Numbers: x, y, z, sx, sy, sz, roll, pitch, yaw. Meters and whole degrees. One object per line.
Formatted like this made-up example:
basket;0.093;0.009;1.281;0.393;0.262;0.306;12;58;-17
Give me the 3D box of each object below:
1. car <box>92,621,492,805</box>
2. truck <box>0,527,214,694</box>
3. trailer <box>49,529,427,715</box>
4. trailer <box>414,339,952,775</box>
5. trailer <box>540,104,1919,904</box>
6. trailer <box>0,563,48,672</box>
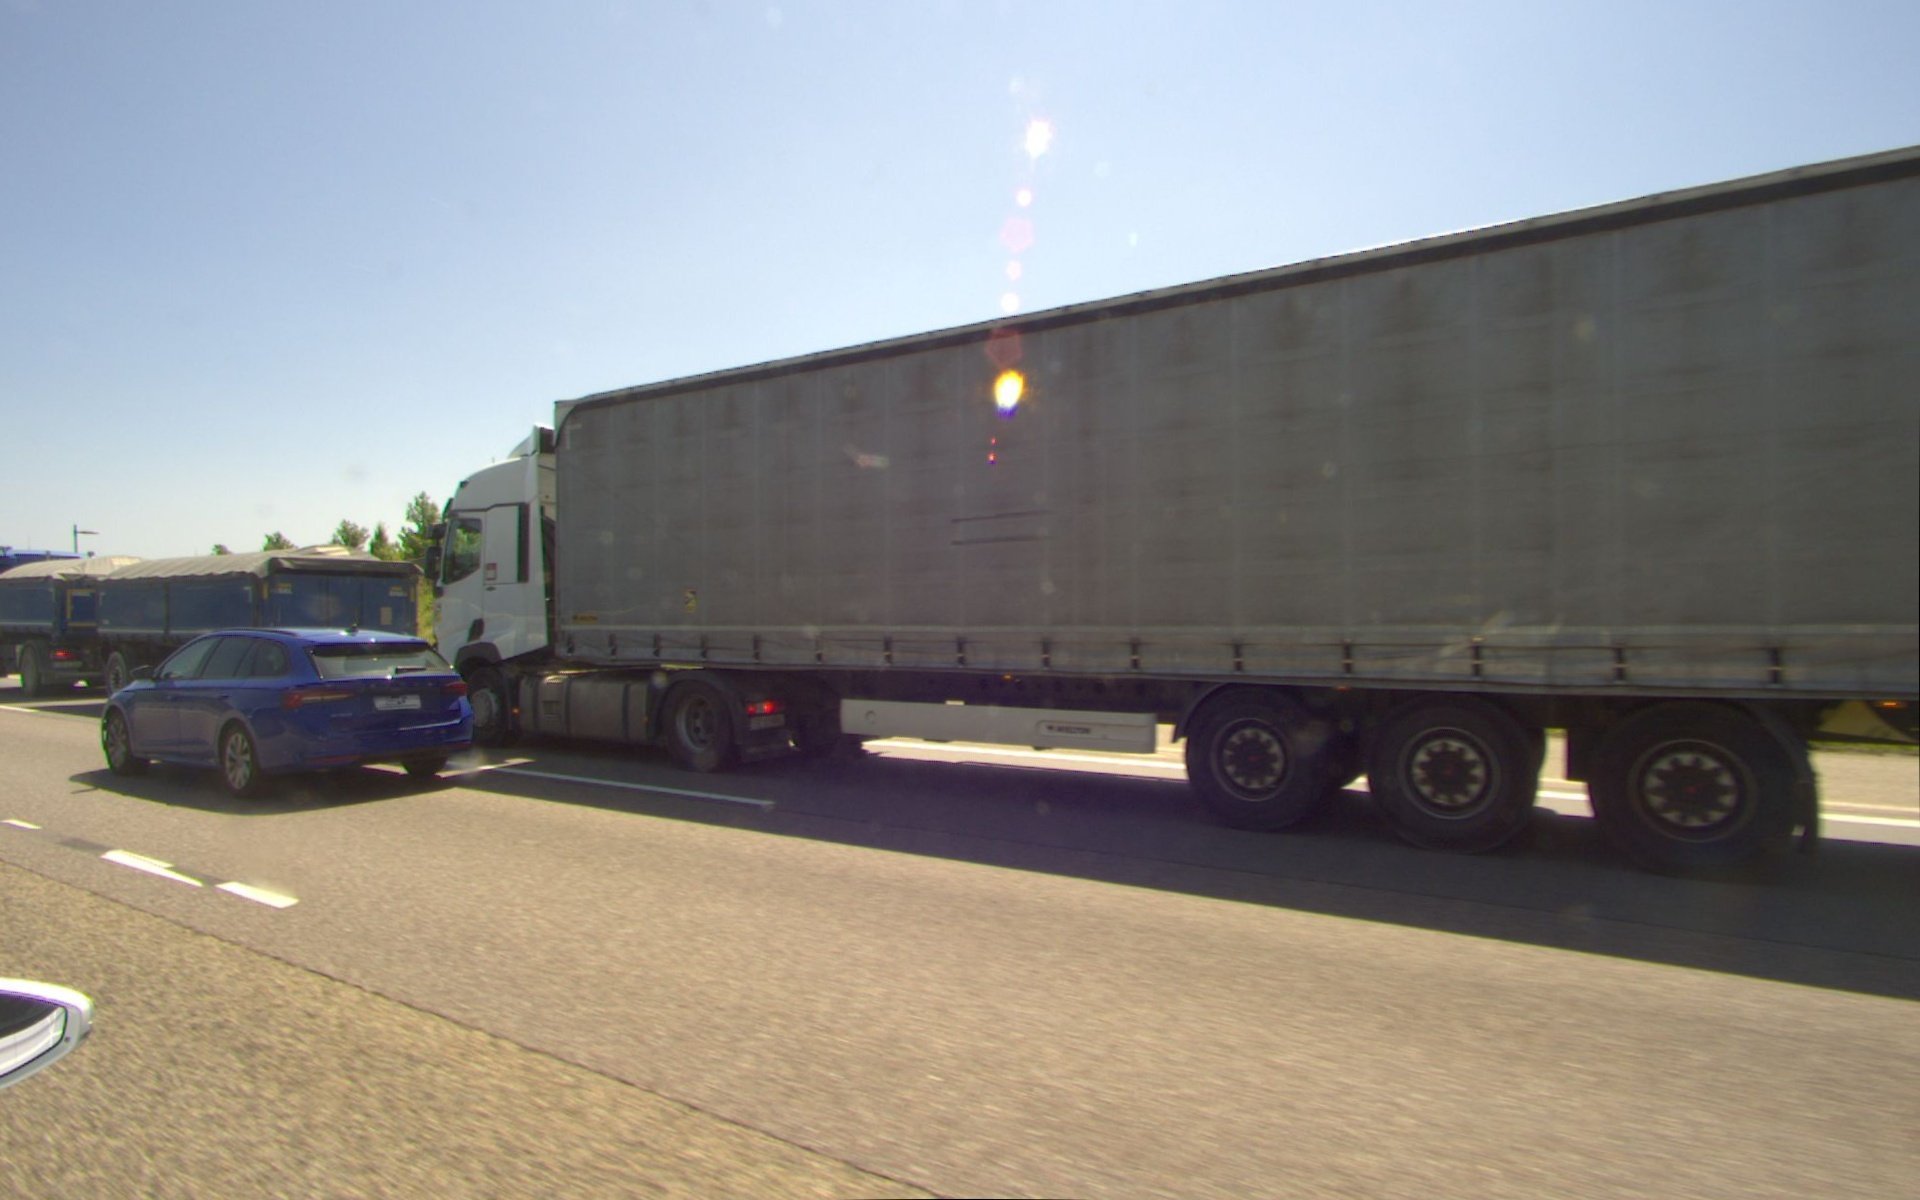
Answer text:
car;-6.665;0.977;9.857;4.366;1.459;1.703;-2;-2;33
truck;-20.407;0.302;23.168;7.031;3.354;2.739;-1;-2;33
trailer;-13.997;0.424;19.091;8.986;2.873;2.739;-1;-2;33
trailer;-3.533;-0.340;12.343;6.319;4.096;2.919;0;-1;33
trailer;1.736;-0.416;8.938;13.556;4.101;2.957;-1;-1;33
trailer;-34.291;0.686;32.372;15.558;3.117;3.638;-2;-2;34
